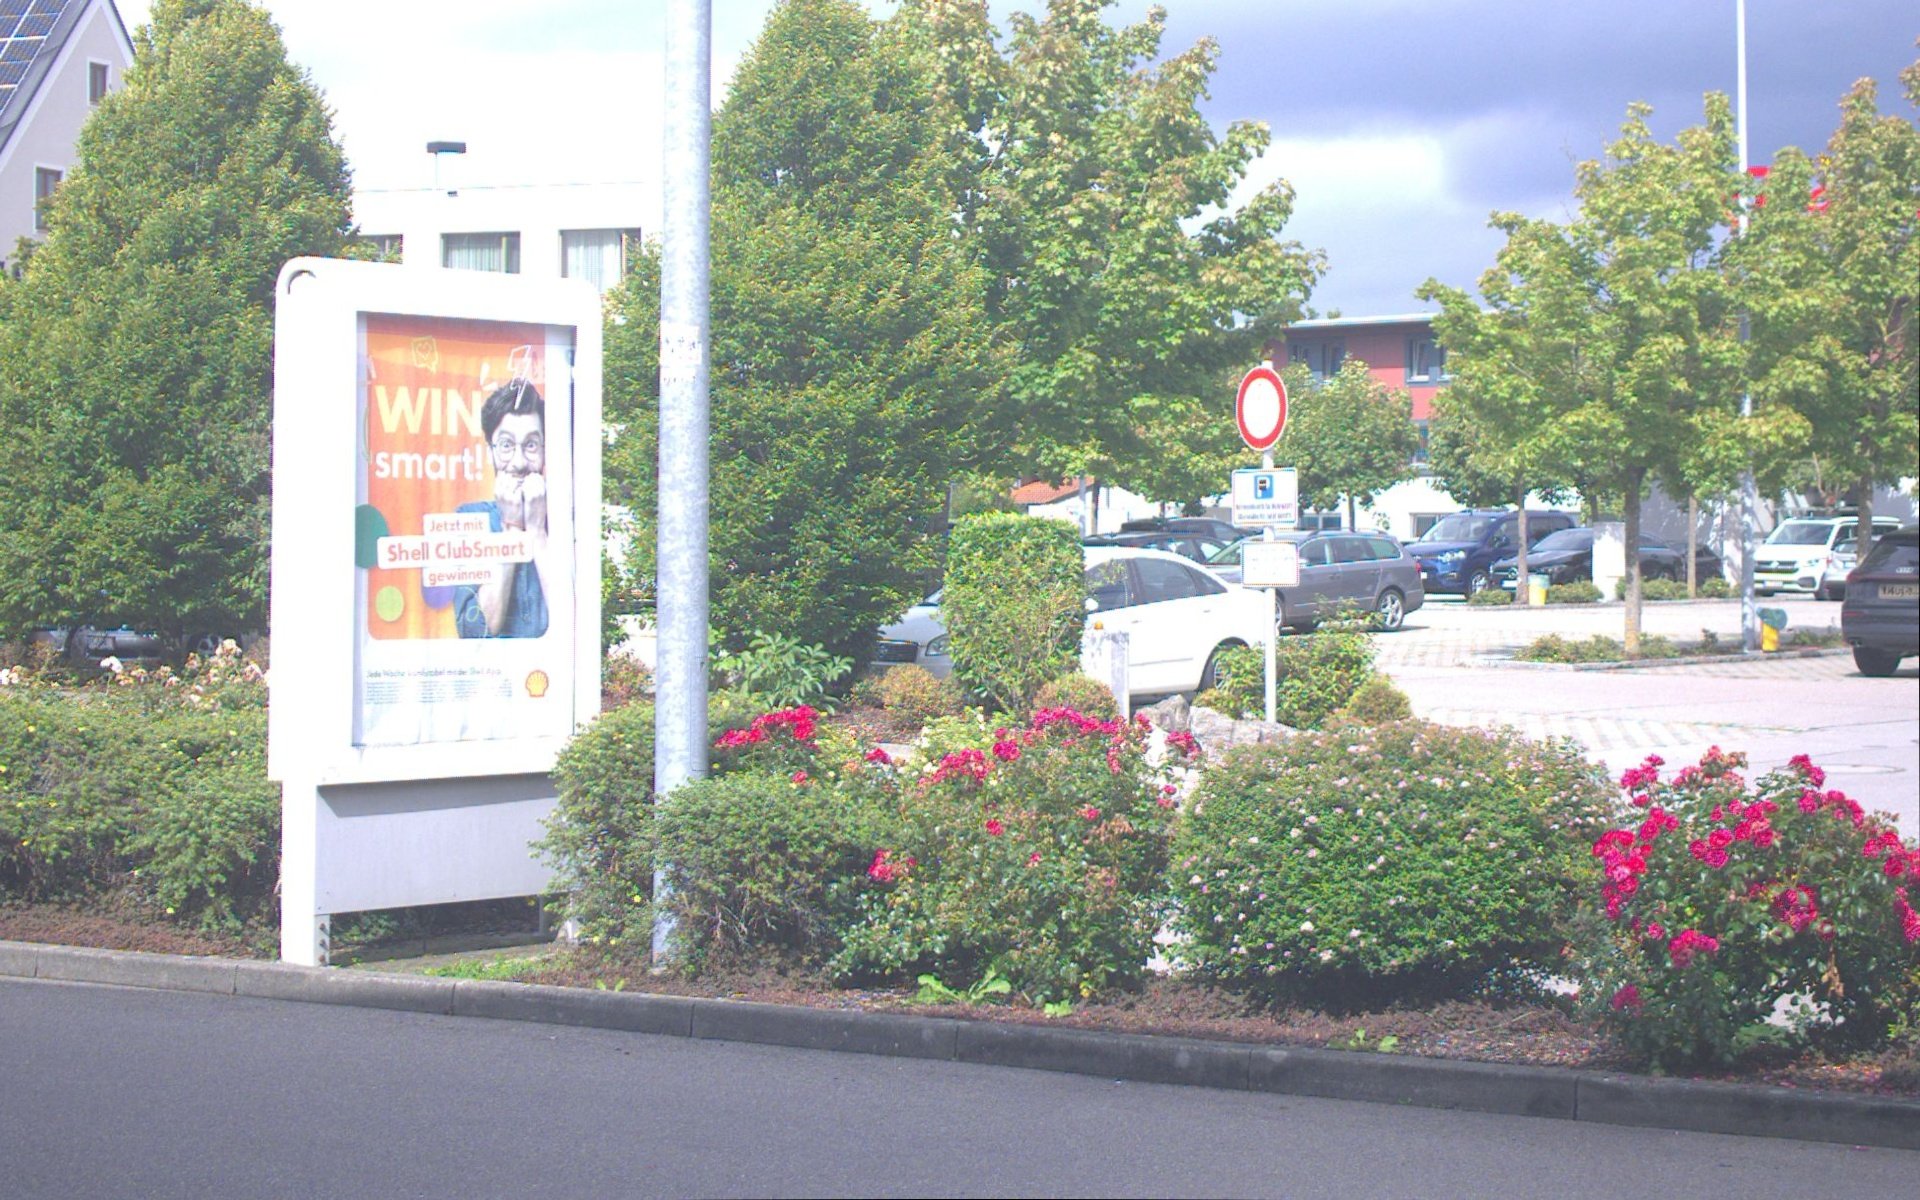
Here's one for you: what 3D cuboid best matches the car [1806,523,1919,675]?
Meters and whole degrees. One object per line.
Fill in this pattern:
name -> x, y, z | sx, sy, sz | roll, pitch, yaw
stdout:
car -> 11.140, -0.009, 36.753 | 4.491, 1.543, 1.885 | 0, 1, -43

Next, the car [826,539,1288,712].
car -> 0.910, 0.205, 29.951 | 4.332, 1.399, 1.370 | 0, 1, -44

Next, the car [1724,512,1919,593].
car -> 20.258, -1.093, 80.664 | 4.864, 1.827, 2.184 | 0, 1, -43

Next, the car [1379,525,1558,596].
car -> 9.896, -0.761, 66.807 | 3.379, 1.316, 1.747 | 0, 1, -44

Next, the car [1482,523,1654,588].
car -> 11.524, -0.843, 65.058 | 3.409, 1.174, 1.485 | 0, 1, -44

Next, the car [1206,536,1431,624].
car -> 5.210, -0.290, 49.740 | 3.218, 1.224, 1.505 | 0, 1, -44
